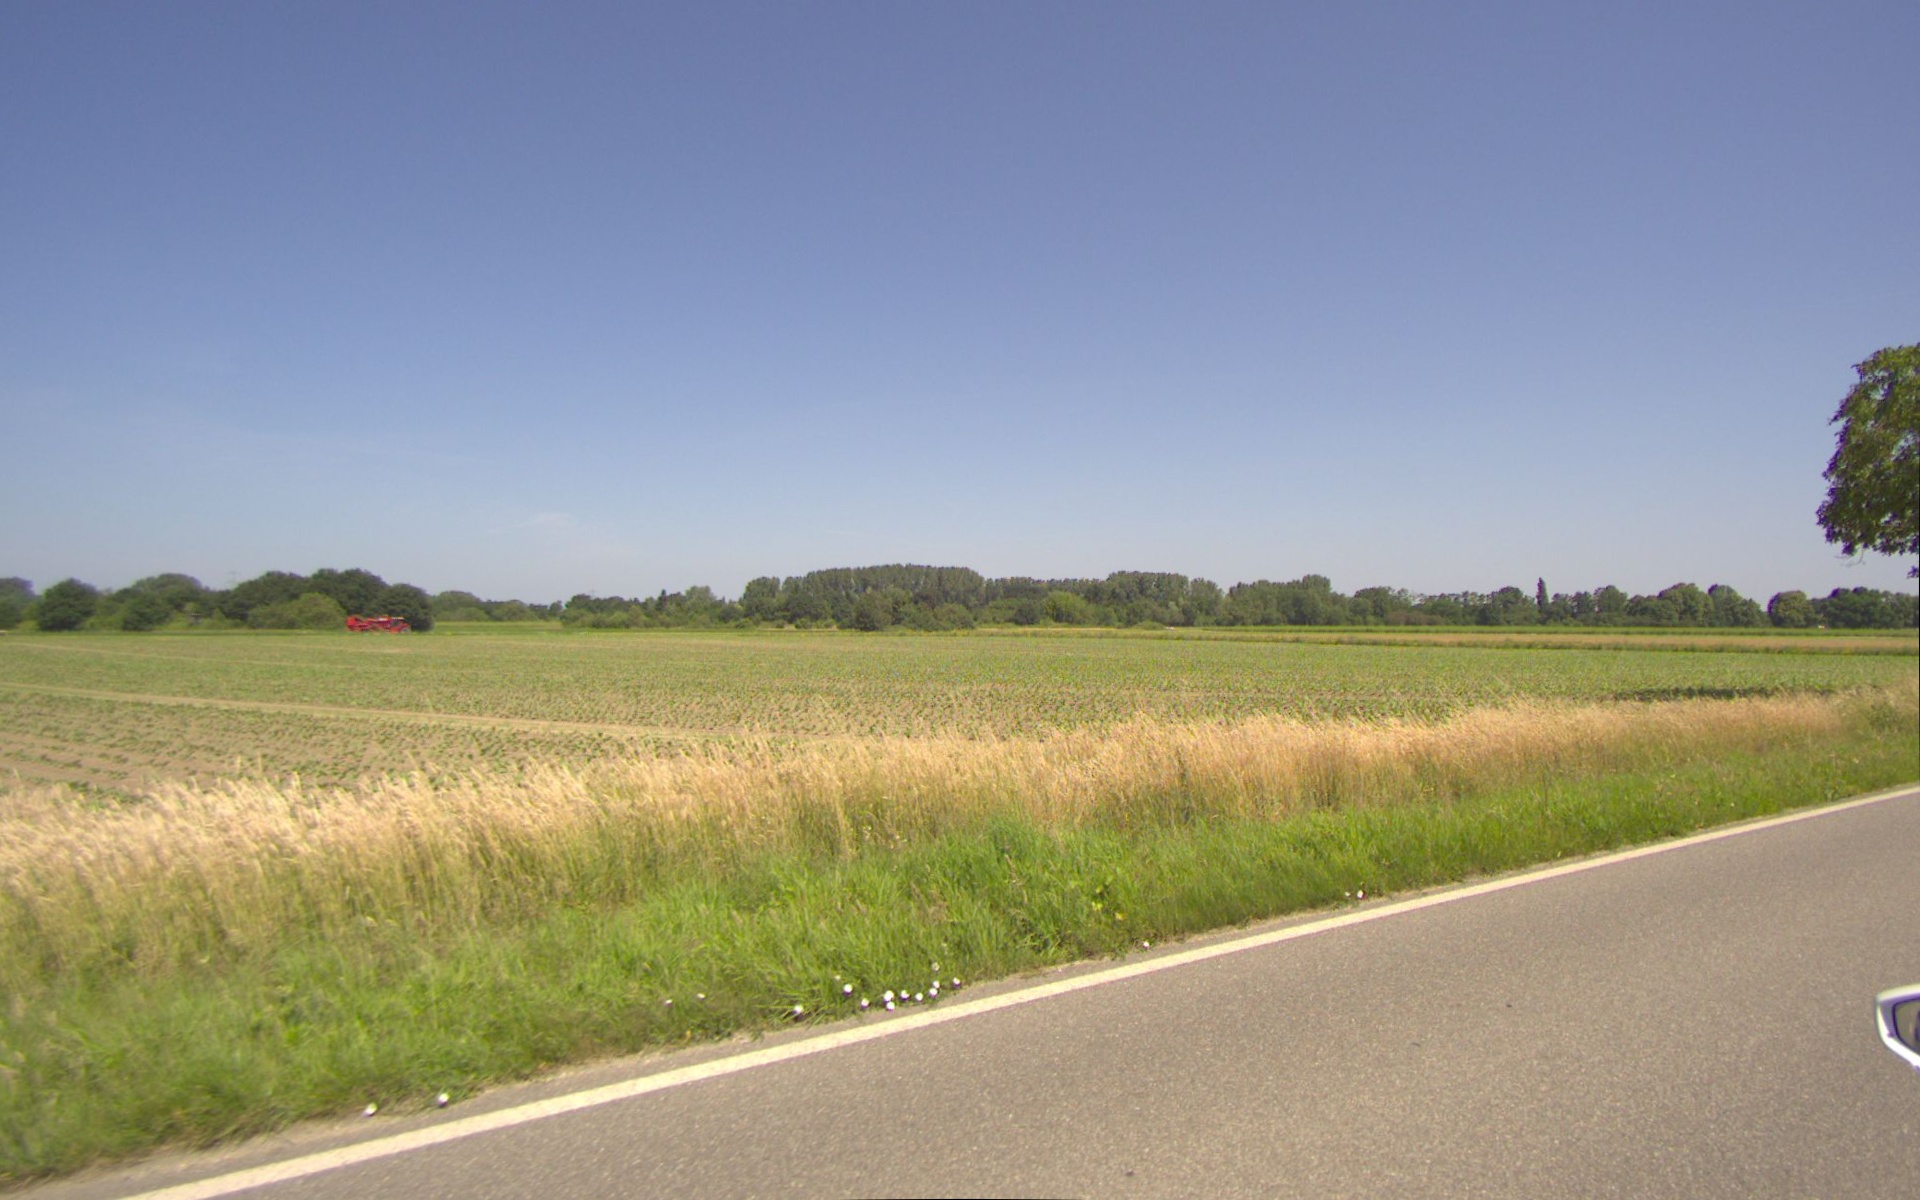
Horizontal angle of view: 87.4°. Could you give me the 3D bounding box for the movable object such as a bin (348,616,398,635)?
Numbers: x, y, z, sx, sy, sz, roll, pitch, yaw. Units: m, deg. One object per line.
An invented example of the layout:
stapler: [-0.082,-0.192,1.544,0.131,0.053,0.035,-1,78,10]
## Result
movable object such as a bin: [-125.305,5.497,214.486,9.777,3.899,2.549,-1,-2,9]
